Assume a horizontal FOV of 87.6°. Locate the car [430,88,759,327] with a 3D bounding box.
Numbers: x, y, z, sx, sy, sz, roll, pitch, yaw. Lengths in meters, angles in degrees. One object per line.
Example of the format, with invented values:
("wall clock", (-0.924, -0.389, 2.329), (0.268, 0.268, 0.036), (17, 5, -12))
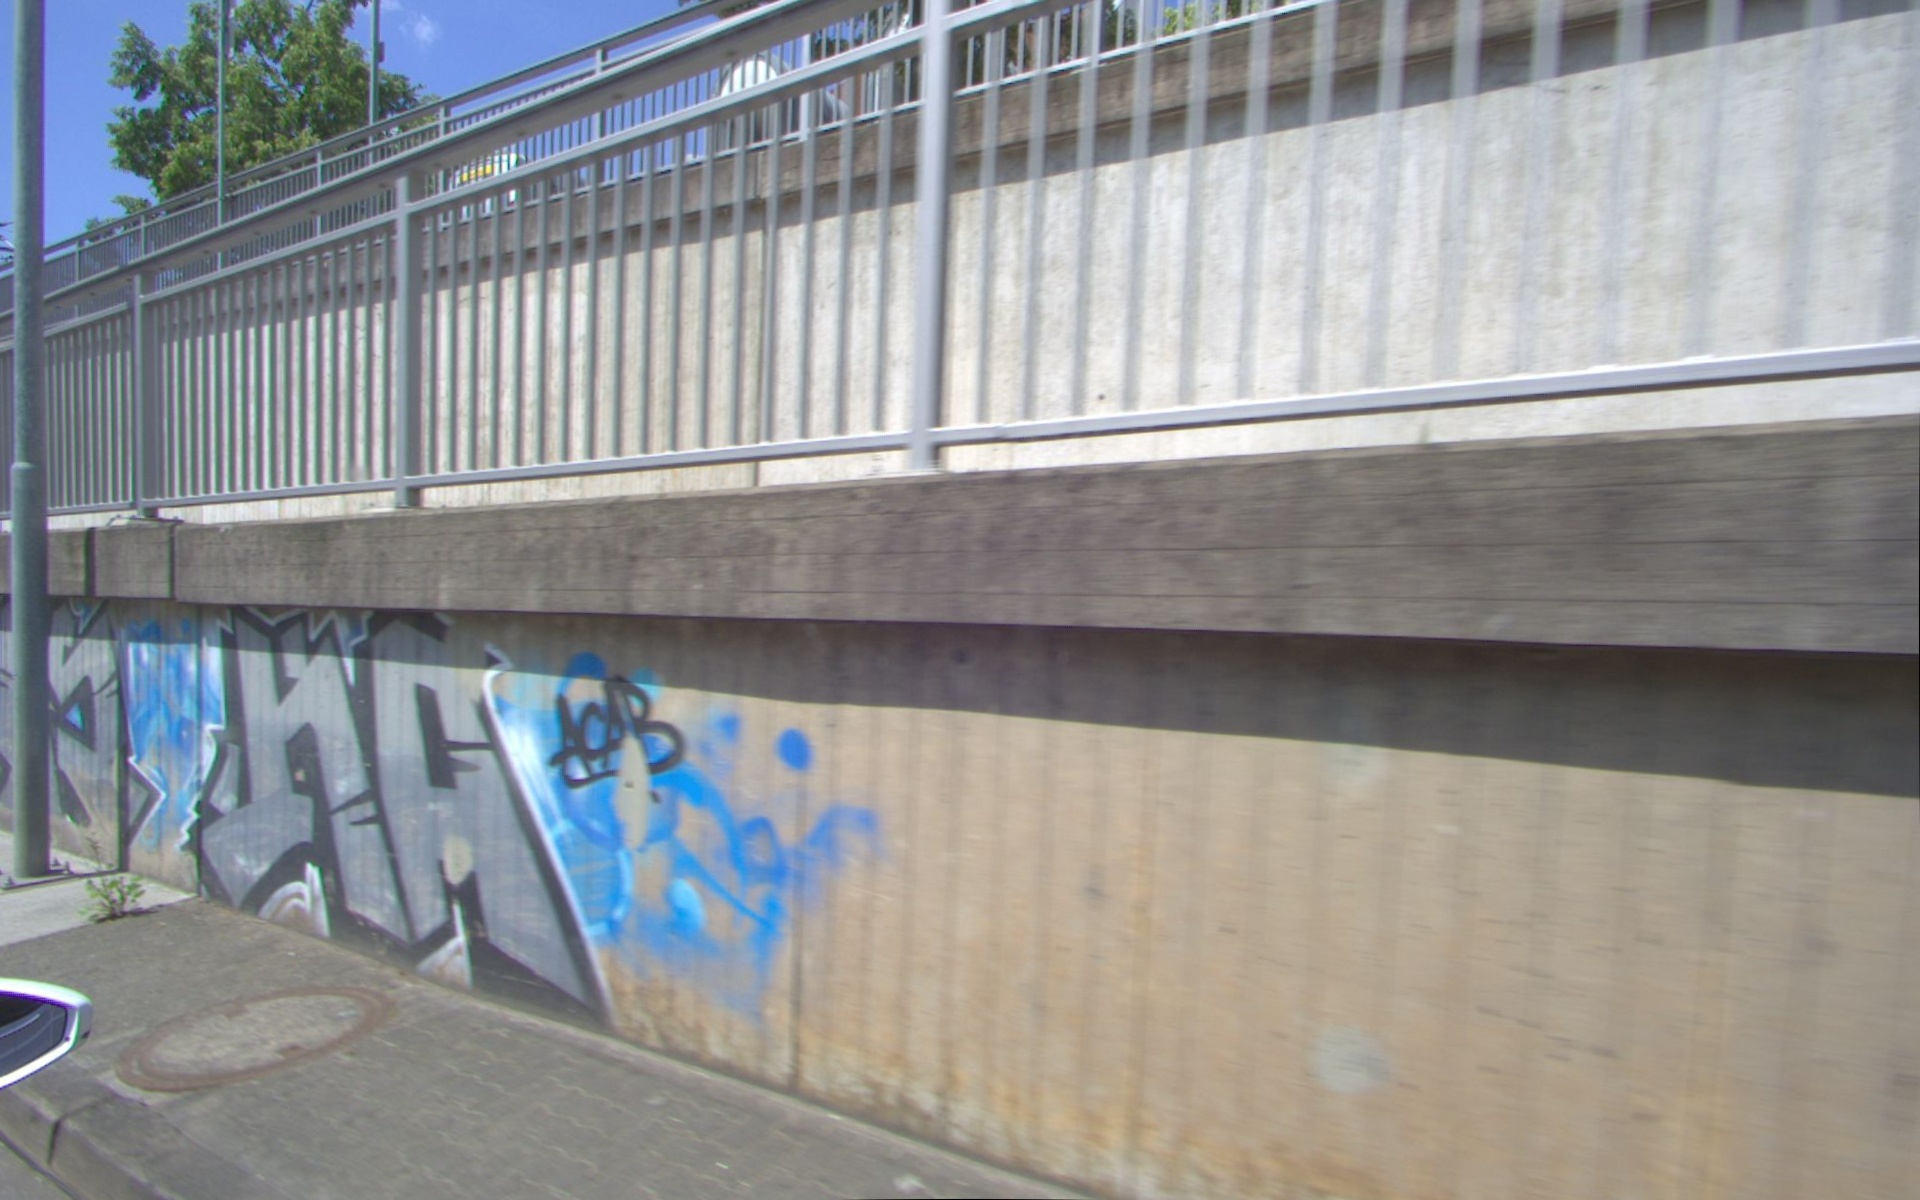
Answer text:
("car", (-4.827, -5.134, 13.741), (1.746, 1.505, 3.976), (0, -1, 35))
